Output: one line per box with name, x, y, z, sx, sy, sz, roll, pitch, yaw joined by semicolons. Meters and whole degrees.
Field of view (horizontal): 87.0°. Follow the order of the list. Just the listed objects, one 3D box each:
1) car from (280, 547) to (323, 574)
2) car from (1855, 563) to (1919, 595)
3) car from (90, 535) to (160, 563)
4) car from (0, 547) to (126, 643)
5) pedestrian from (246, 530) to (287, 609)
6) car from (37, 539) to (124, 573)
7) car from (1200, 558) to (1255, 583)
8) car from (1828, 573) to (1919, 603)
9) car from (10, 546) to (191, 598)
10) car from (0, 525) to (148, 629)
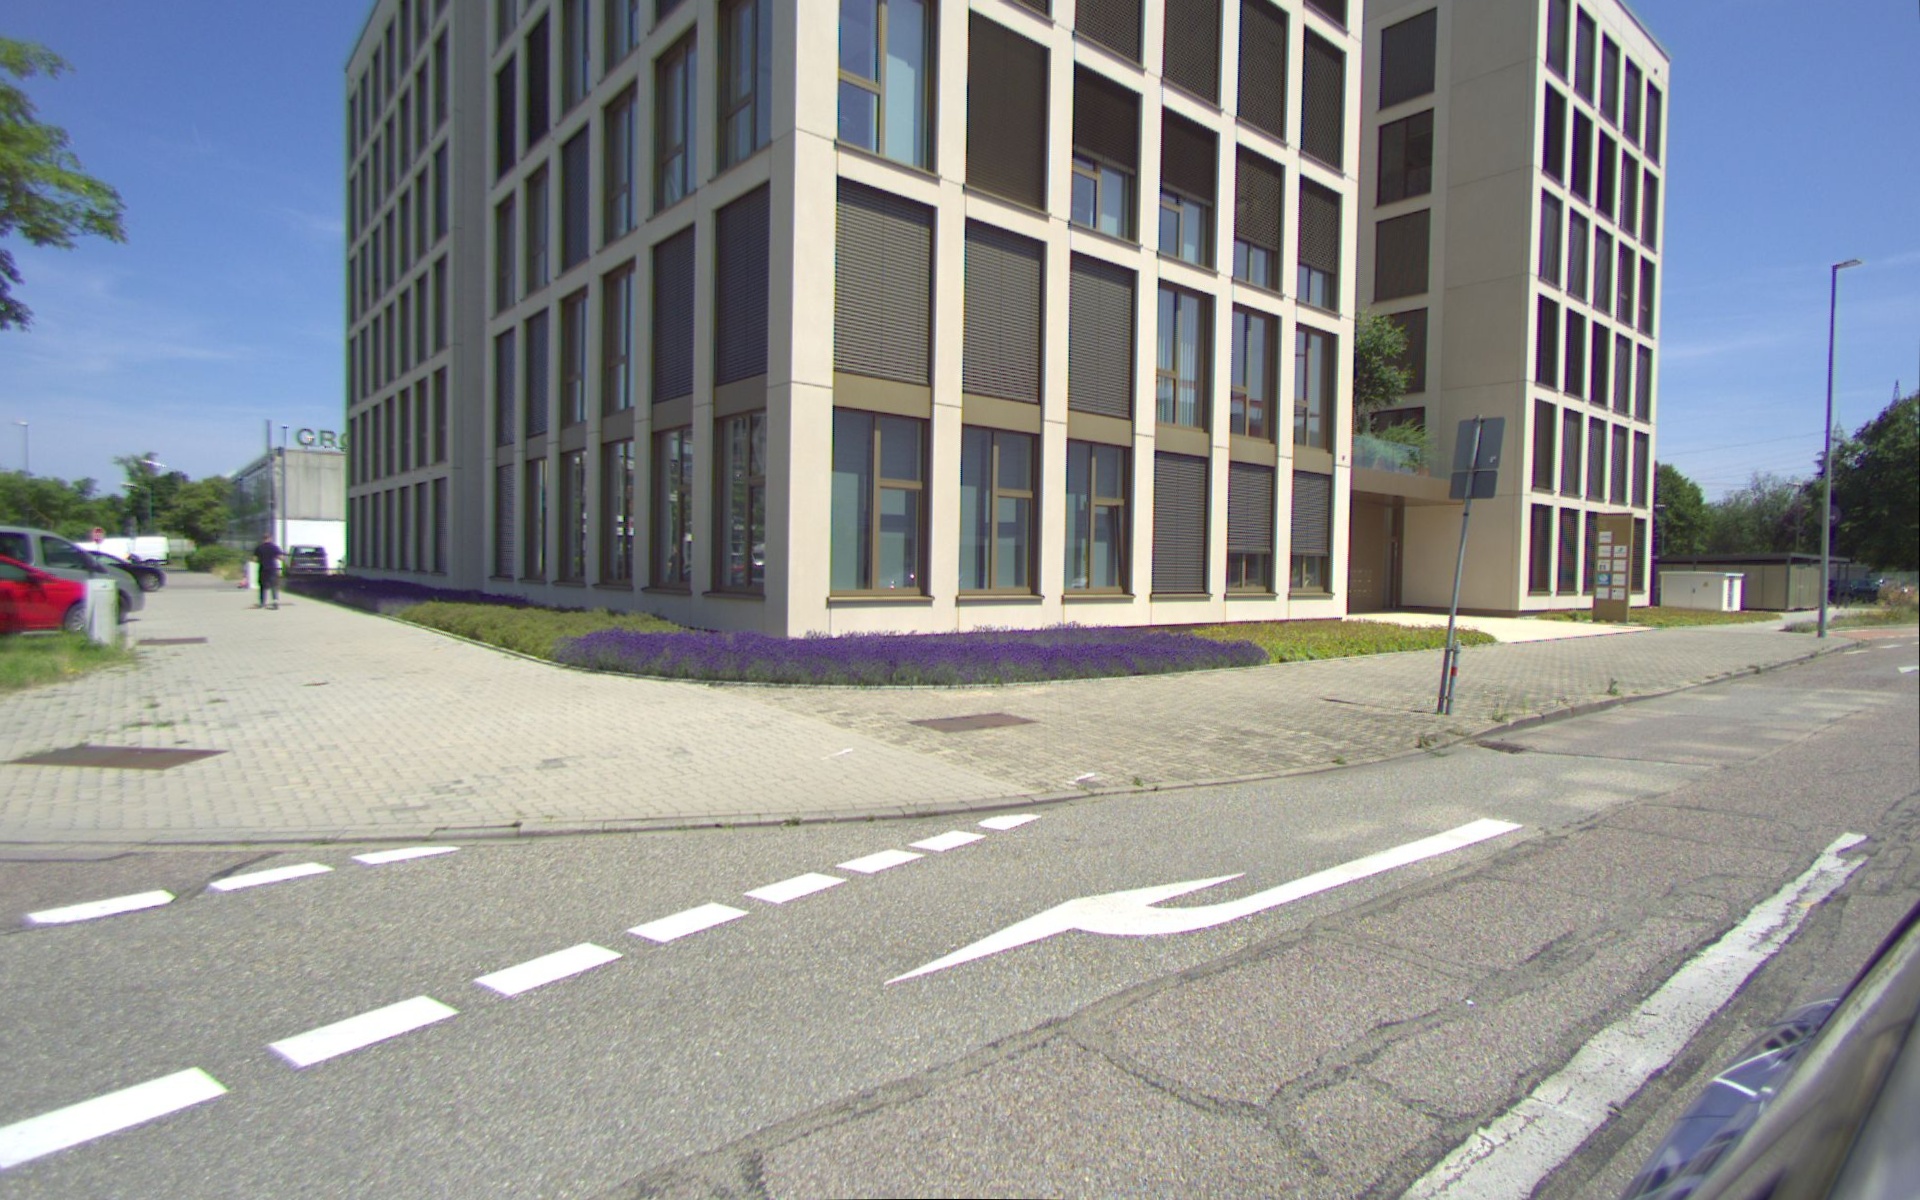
car;-37.903;-2.283;58.222;1.758;1.540;3.574;-1;3;-39
car;59.212;-1.310;63.559;3.958;1.977;1.984;2;2;25
car;-67.510;-4.093;81.933;4.280;2.146;2.094;0;2;-37
car;-15.417;-0.083;15.545;1.584;1.452;3.991;1;2;9
pedestrian;-16.934;-0.754;24.722;0.758;1.867;0.869;-1;3;-32
car;-54.956;-2.722;63.345;3.925;2.038;2.000;0;2;-36
car;21.149;-2.349;80.022;3.921;1.874;2.002;0;2;-31
car;55.701;-0.732;61.558;3.960;1.682;1.822;2;3;26
car;-27.840;-0.960;32.949;1.792;1.557;4.131;0;3;19
car;-17.731;-0.431;18.374;1.676;1.838;4.899;1;2;7
